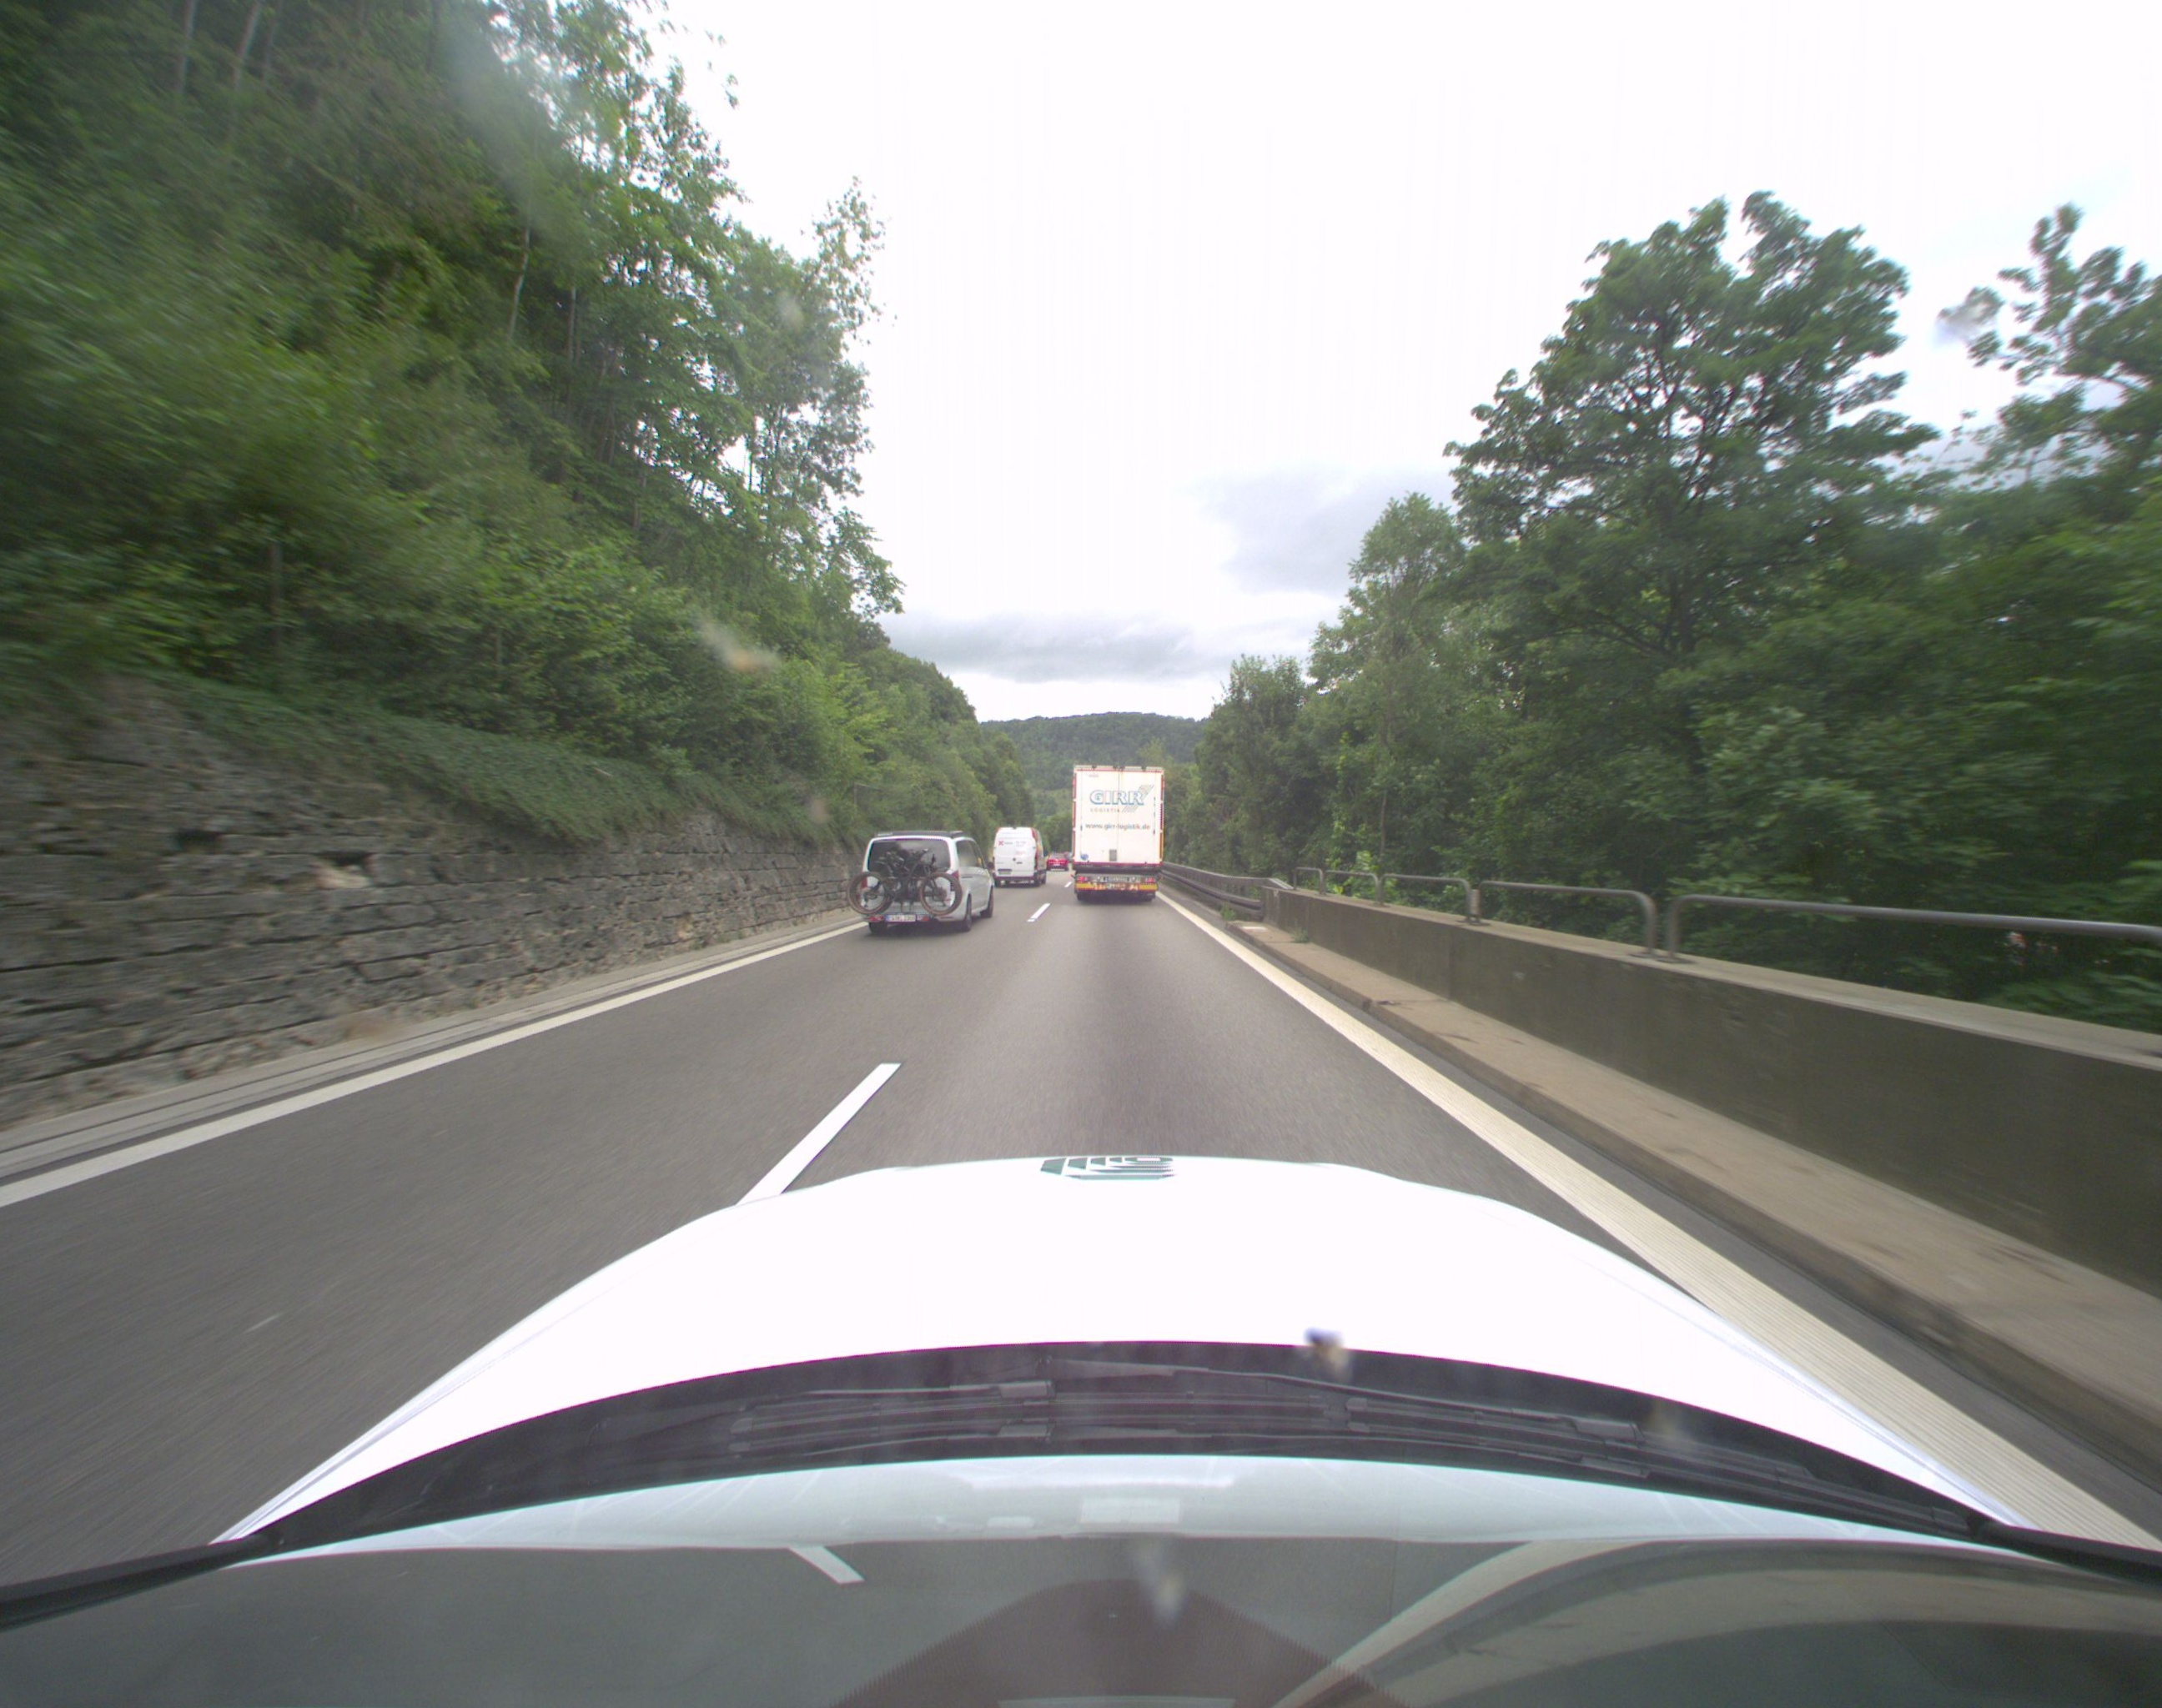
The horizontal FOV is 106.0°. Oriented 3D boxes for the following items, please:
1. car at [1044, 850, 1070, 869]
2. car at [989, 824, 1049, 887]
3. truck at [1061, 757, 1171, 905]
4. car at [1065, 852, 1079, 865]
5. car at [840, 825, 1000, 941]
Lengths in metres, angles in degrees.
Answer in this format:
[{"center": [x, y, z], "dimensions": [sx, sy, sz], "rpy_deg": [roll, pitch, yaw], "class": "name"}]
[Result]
[{"center": [-1.945, 0.455, 67.460], "dimensions": [1.759, 1.460, 4.415], "rpy_deg": [-2, 0, 3], "class": "car"}, {"center": [-2.708, 0.082, 37.240], "dimensions": [2.018, 2.585, 6.276], "rpy_deg": [-2, 0, 2], "class": "car"}, {"center": [1.117, -0.632, 26.967], "dimensions": [2.897, 3.960, 9.283], "rpy_deg": [-2, 0, 2], "class": "truck"}, {"center": [-1.124, 0.549, 105.590], "dimensions": [1.663, 1.638, 4.069], "rpy_deg": [-2, 0, 1], "class": "car"}, {"center": [-3.030, 0.478, 16.865], "dimensions": [1.986, 1.953, 6.148], "rpy_deg": [-1, 0, 1], "class": "car"}]
